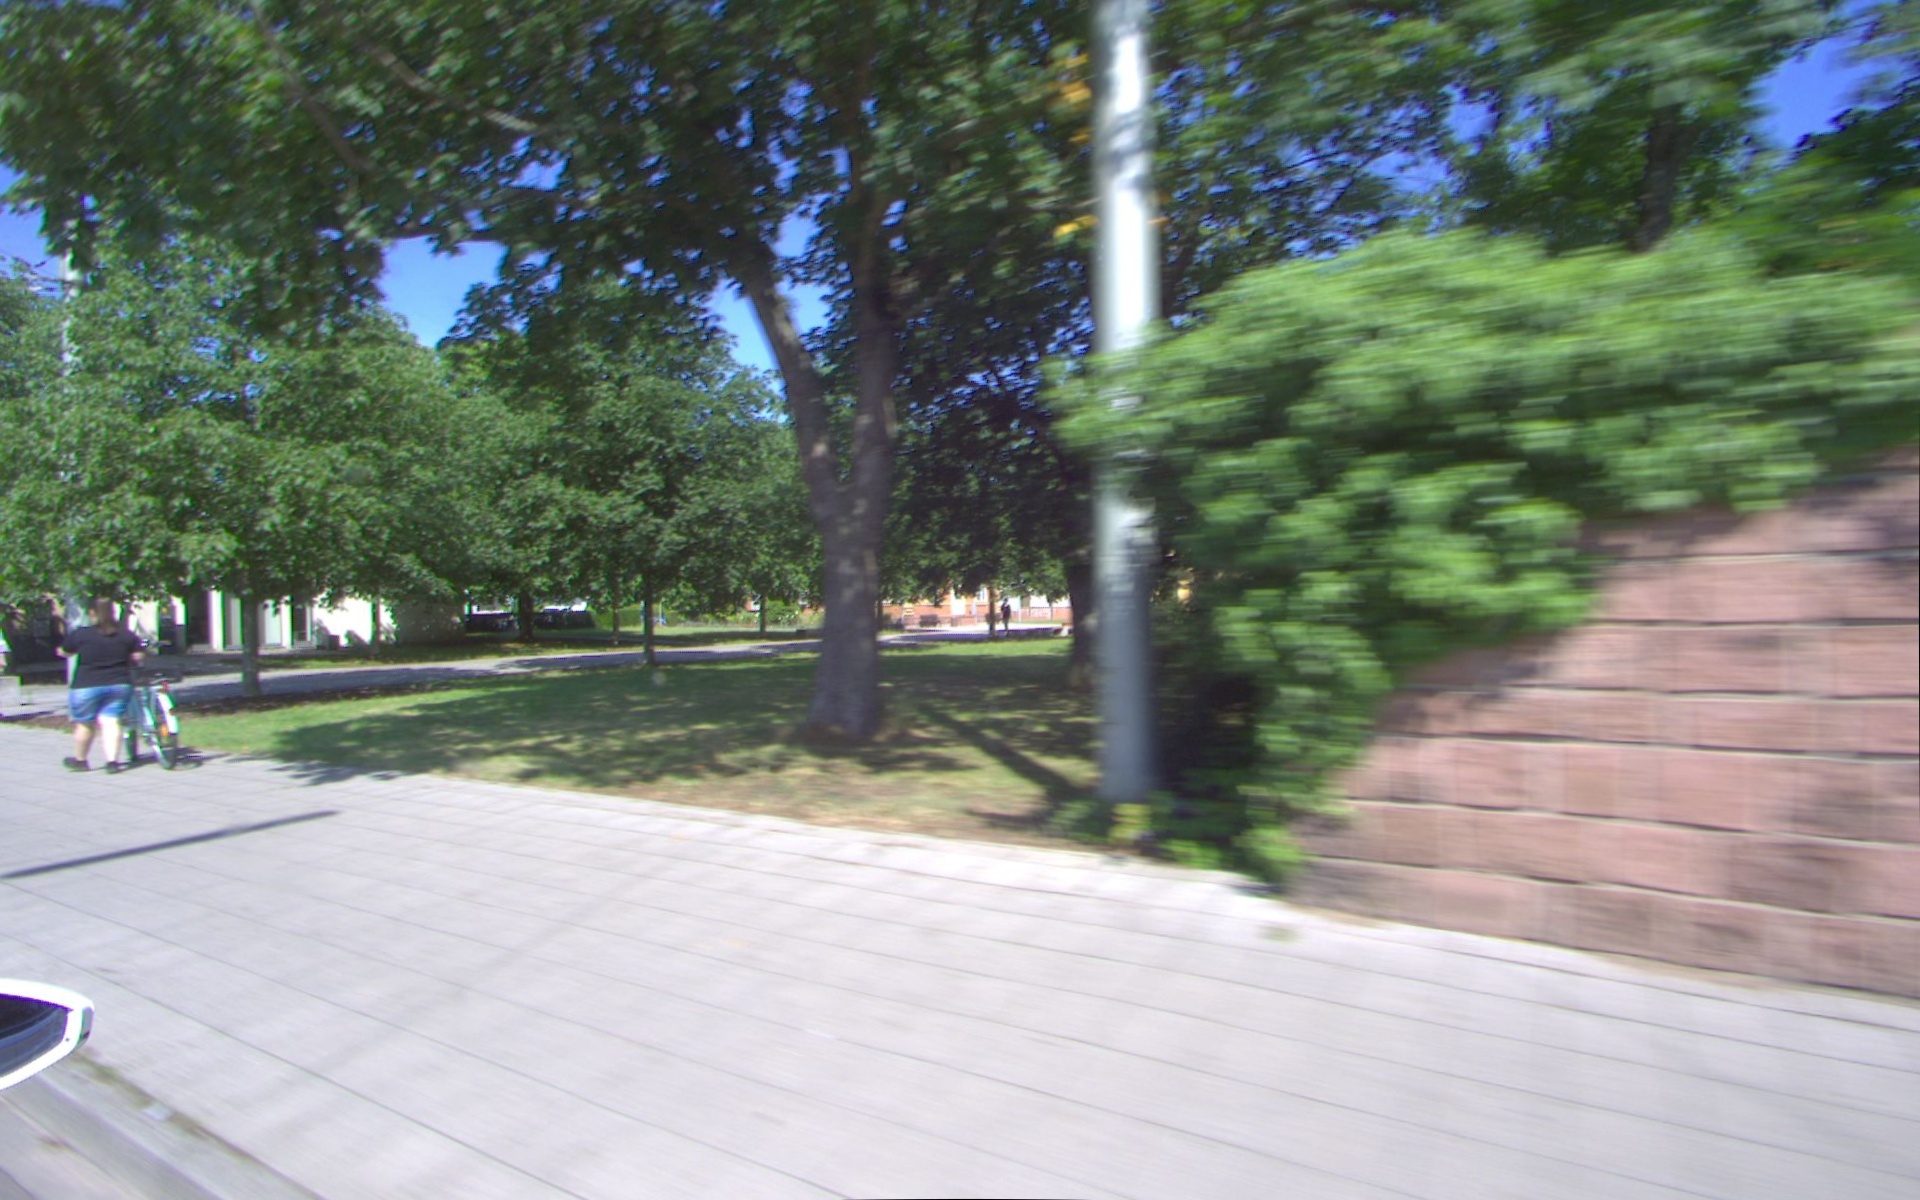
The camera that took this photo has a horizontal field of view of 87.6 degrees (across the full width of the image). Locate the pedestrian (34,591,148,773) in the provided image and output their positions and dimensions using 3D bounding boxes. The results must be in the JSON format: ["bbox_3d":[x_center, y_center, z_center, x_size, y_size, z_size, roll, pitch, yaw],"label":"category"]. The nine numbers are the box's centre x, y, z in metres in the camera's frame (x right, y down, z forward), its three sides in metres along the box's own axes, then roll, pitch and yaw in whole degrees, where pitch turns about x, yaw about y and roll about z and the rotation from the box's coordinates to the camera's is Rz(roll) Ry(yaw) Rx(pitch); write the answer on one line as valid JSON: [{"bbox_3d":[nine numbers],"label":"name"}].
[{"bbox_3d":[-7.922,0.723,9.136,0.654,1.570,0.539,0,3,32],"label":"pedestrian"}]

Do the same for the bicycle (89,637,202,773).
[{"bbox_3d":[-7.617,0.923,9.335,1.787,1.126,0.533,-1,1,42],"label":"bicycle"}]

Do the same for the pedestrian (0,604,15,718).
[{"bbox_3d":[-14.694,0.915,14.964,0.642,1.704,0.704,-1,1,-29],"label":"pedestrian"}]

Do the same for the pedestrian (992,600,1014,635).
[{"bbox_3d":[1.985,0.814,46.510,0.679,1.622,0.863,0,1,31],"label":"pedestrian"}]
